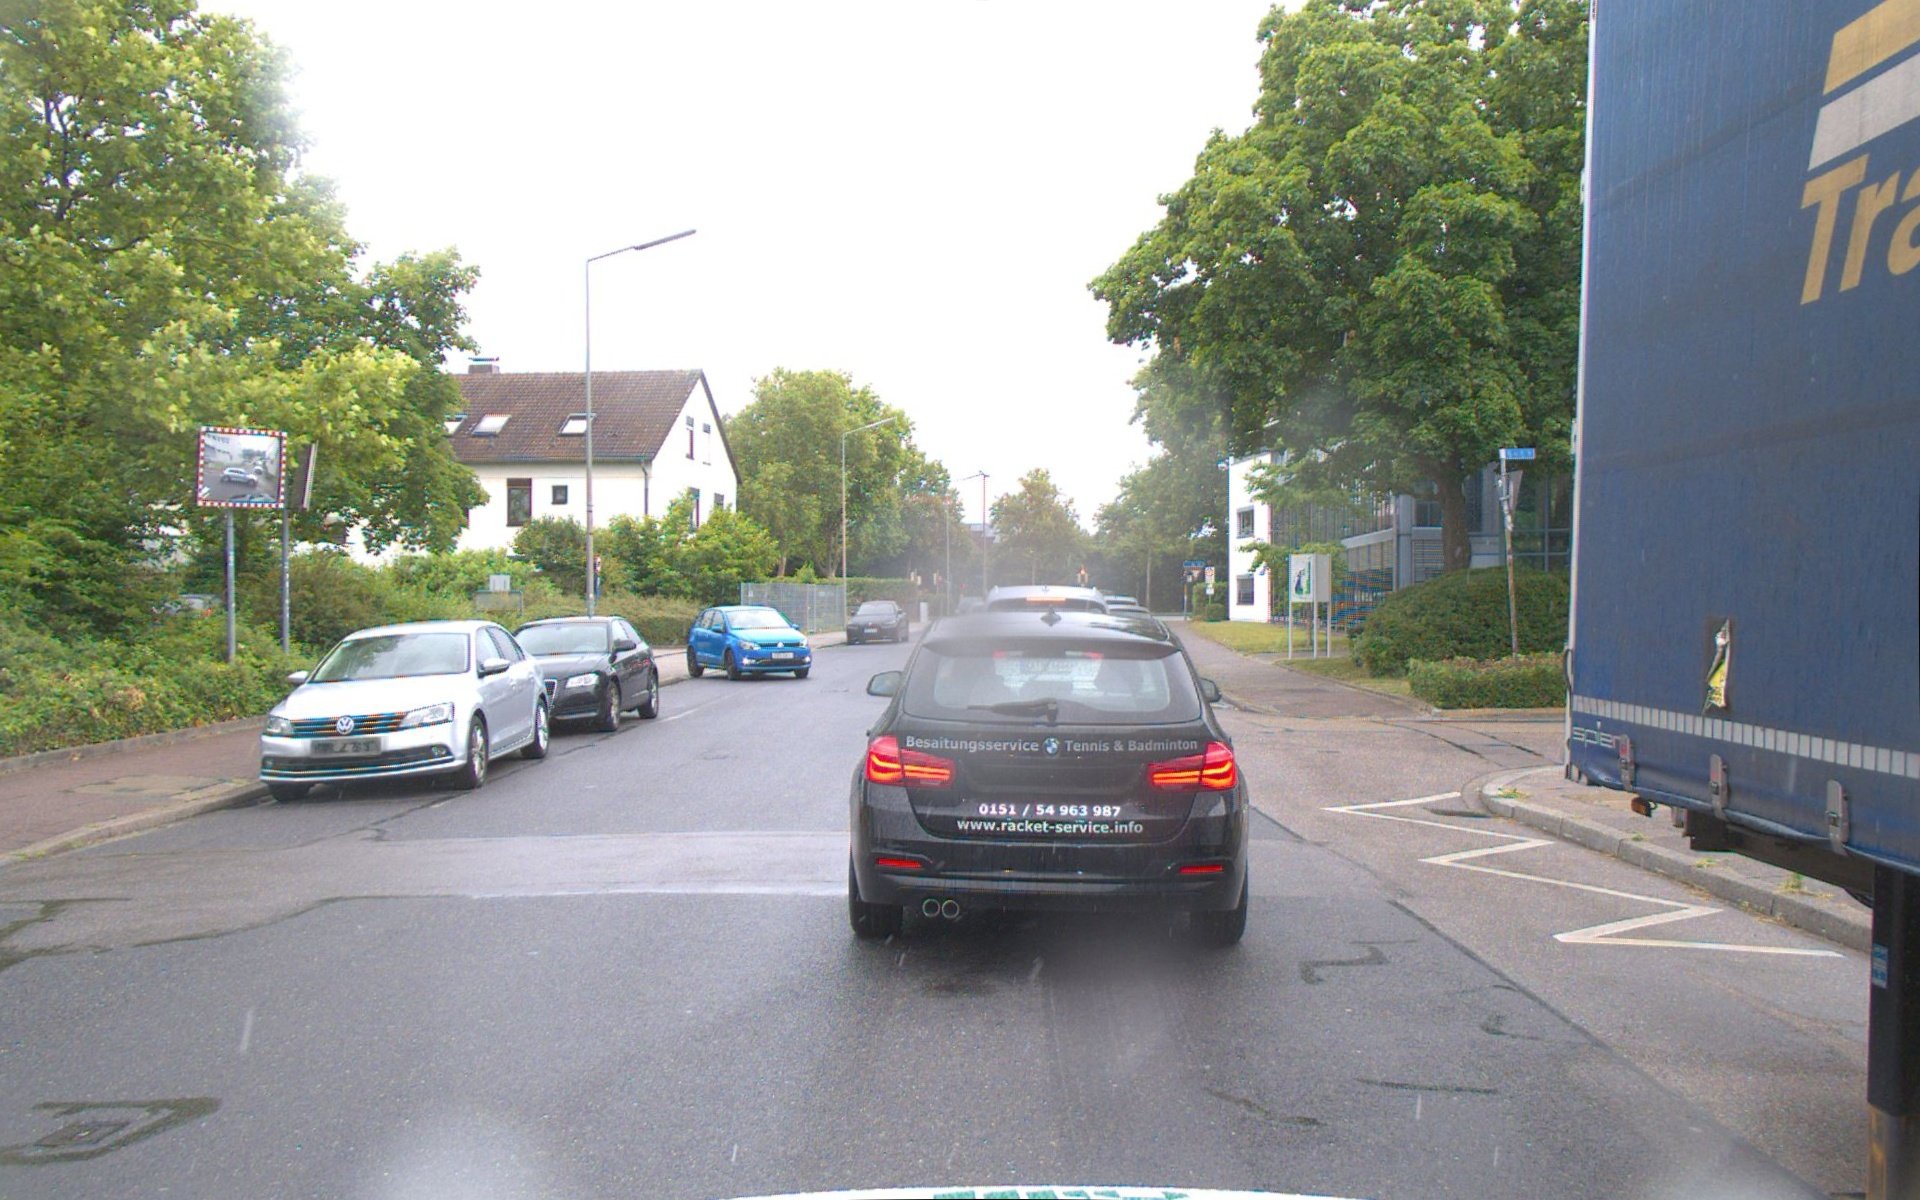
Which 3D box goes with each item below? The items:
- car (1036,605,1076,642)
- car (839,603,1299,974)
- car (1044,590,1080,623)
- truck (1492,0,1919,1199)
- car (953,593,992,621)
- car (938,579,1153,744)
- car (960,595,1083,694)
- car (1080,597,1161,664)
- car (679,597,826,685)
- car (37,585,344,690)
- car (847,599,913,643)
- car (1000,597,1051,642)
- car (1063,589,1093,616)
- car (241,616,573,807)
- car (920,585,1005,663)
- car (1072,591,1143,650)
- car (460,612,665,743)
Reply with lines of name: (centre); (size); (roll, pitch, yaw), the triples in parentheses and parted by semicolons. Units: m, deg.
car: (4.429, 1.077, 76.085); (1.766, 1.614, 4.002); (1, 0, 4)
car: (0.368, 0.743, 8.378); (1.768, 1.419, 3.998); (1, 0, -2)
car: (5.141, 0.306, 83.078); (1.766, 1.614, 4.002); (0, 0, 3)
truck: (3.333, -0.350, 1.892); (2.686, 3.674, 7.747); (2, 0, -1)
car: (0.699, 0.384, 89.826); (1.669, 1.391, 3.841); (-3, 0, 6)
car: (0.821, 0.621, 18.244); (1.769, 1.614, 3.995); (1, 0, -6)
car: (1.018, 0.747, 29.181); (1.768, 1.614, 3.997); (1, 0, -4)
car: (4.043, 0.762, 42.138); (1.767, 1.614, 4.001); (1, 0, 1)
car: (-4.285, 0.814, 33.738); (1.687, 1.622, 3.802); (-3, 0, -28)
car: (-11.924, 0.555, 25.844); (3.908, 1.567, 1.909); (0, 0, -3)
car: (-2.764, 0.702, 57.949); (1.669, 1.391, 3.841); (-3, 0, 6)
car: (2.460, 0.720, 61.288); (1.766, 1.614, 4.002); (1, 0, 4)
car: (7.203, 0.153, 101.186); (1.766, 1.614, 4.002); (0, 0, 3)
car: (-4.958, 0.911, 15.525); (1.671, 1.391, 4.599); (-3, 0, -2)
car: (0.109, 0.522, 36.918); (1.767, 1.614, 4.001); (1, 0, 1)
car: (4.203, 0.572, 47.634); (1.767, 1.614, 4.001); (1, 0, 1)
car: (-4.958, 0.911, 21.127); (1.671, 1.391, 3.837); (-3, 0, -1)
